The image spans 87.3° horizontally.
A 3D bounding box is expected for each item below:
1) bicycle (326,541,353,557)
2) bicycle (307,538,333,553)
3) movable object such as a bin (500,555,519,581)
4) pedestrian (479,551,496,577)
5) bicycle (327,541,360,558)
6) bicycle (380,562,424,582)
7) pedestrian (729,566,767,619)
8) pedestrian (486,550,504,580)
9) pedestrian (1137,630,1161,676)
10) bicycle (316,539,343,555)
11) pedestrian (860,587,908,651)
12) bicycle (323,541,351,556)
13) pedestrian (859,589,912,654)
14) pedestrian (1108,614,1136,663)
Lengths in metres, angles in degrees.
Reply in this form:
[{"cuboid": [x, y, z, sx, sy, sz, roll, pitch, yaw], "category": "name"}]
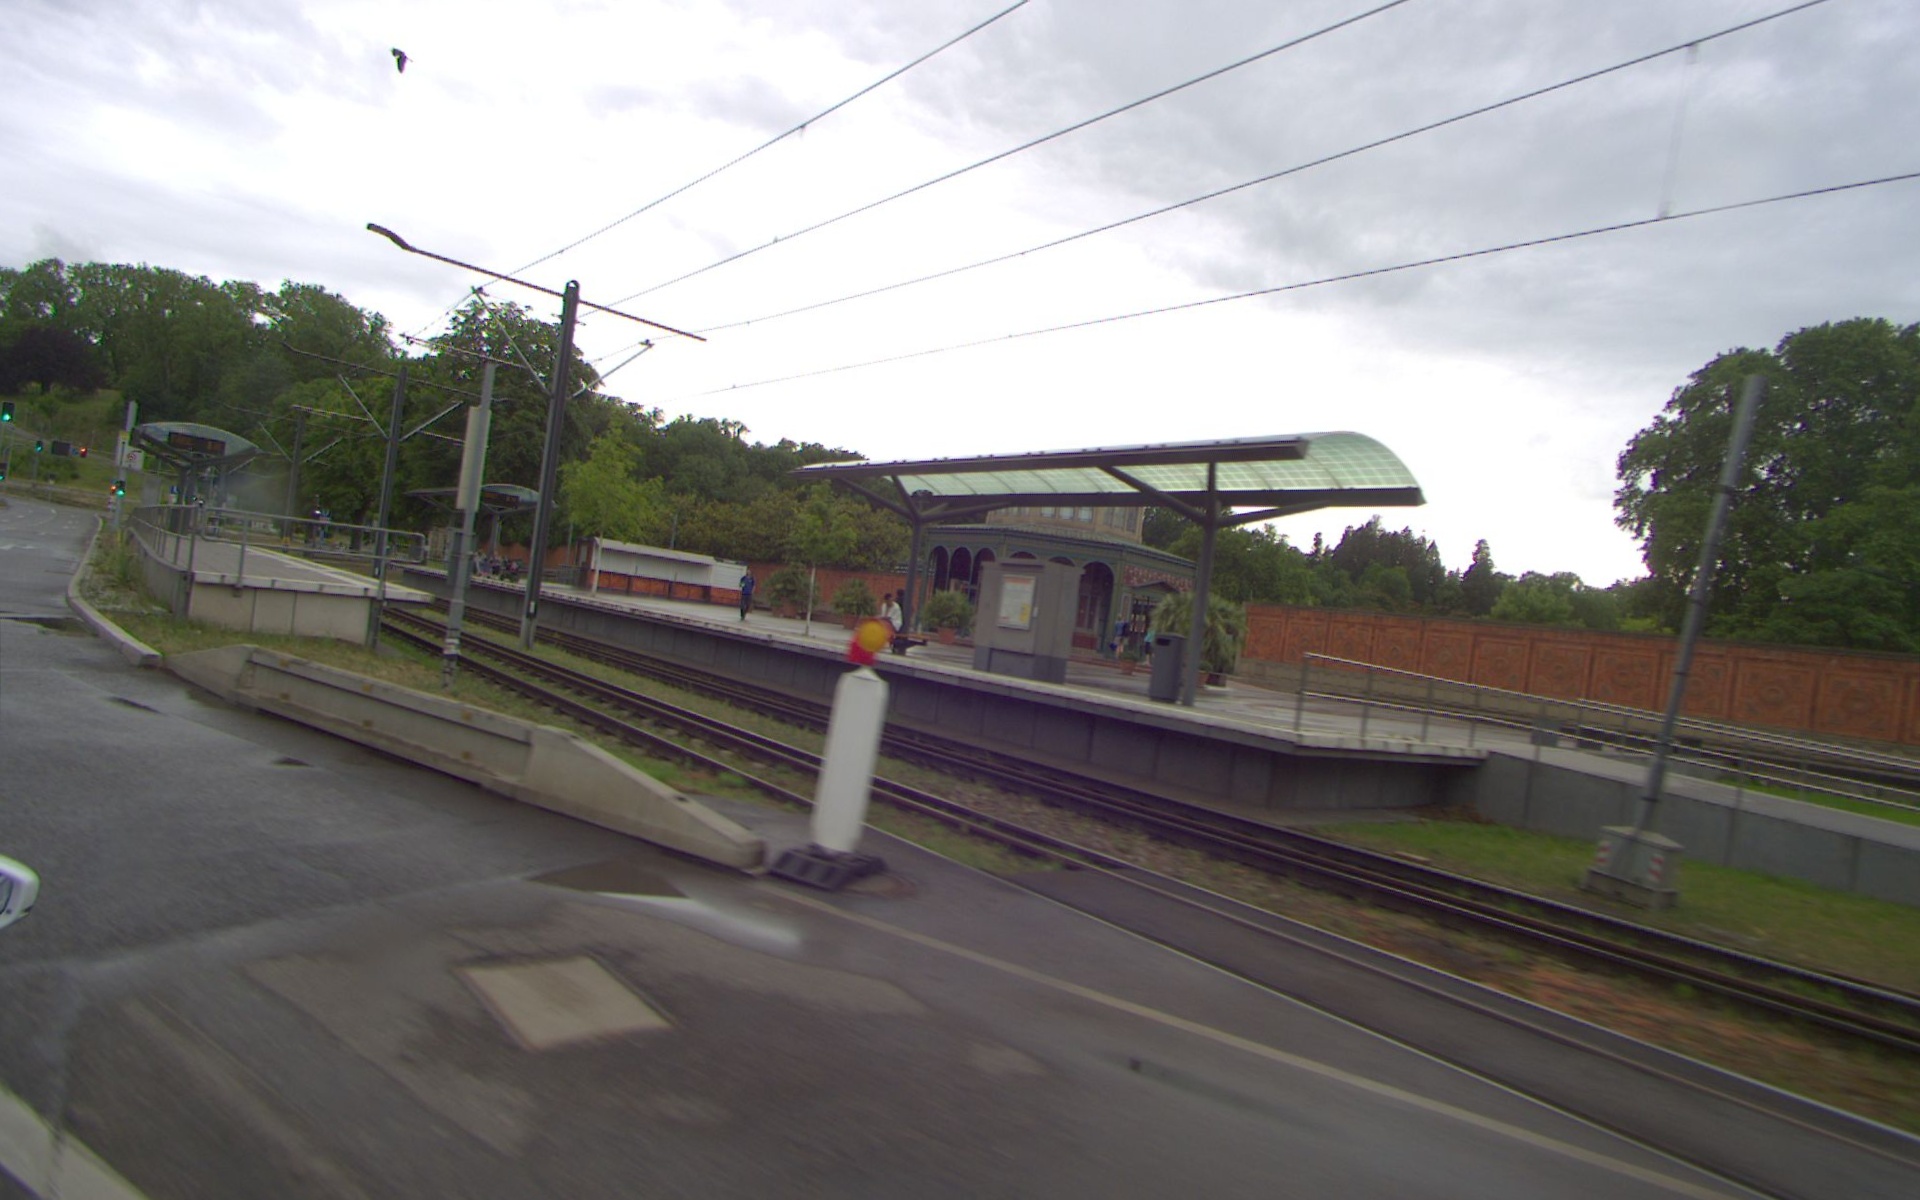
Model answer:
[{"cuboid": [-52.813, -4.339, 85.657, 1.805, 1.044, 0.645, 9, -1, -43], "category": "bicycle"}, {"cuboid": [-57.810, -4.952, 90.925, 1.805, 1.044, 0.645, 9, -1, -43], "category": "bicycle"}, {"cuboid": [-18.981, -1.355, 42.375, 0.435, 1.021, 0.674, 7, 0, -40], "category": "movable object such as a bin"}, {"cuboid": [-19.728, -1.491, 41.980, 0.435, 1.021, 0.545, 7, 0, -40], "category": "pedestrian"}, {"cuboid": [-51.661, -4.209, 84.299, 2.216, 1.044, 0.681, 9, -1, -43], "category": "bicycle"}, {"cuboid": [-36.294, -1.823, 65.458, 2.314, 0.968, 0.563, 8, -1, -42], "category": "bicycle"}, {"cuboid": [-7.757, -0.282, 36.835, 0.717, 1.812, 1.169, 6, 1, -40], "category": "pedestrian"}, {"cuboid": [-19.907, -1.506, 43.056, 0.435, 1.241, 0.545, 7, 0, -40], "category": "pedestrian"}, {"cuboid": [7.069, 1.979, 37.649, 0.542, 1.675, 0.469, 8, -2, -6], "category": "pedestrian"}, {"cuboid": [-54.250, -4.538, 86.537, 1.805, 1.044, 0.645, 9, -1, -43], "category": "bicycle"}, {"cuboid": [-1.495, 0.384, 19.924, 0.512, 1.129, 0.602, 7, -5, 33], "category": "pedestrian"}, {"cuboid": [-53.405, -4.420, 86.222, 1.841, 1.044, 0.645, 9, -1, -43], "category": "bicycle"}, {"cuboid": [-1.551, 0.442, 20.972, 0.772, 1.224, 0.518, 5, -7, 45], "category": "pedestrian"}, {"cuboid": [6.071, 1.447, 37.735, 0.528, 1.728, 0.690, 10, -4, -29], "category": "pedestrian"}]
